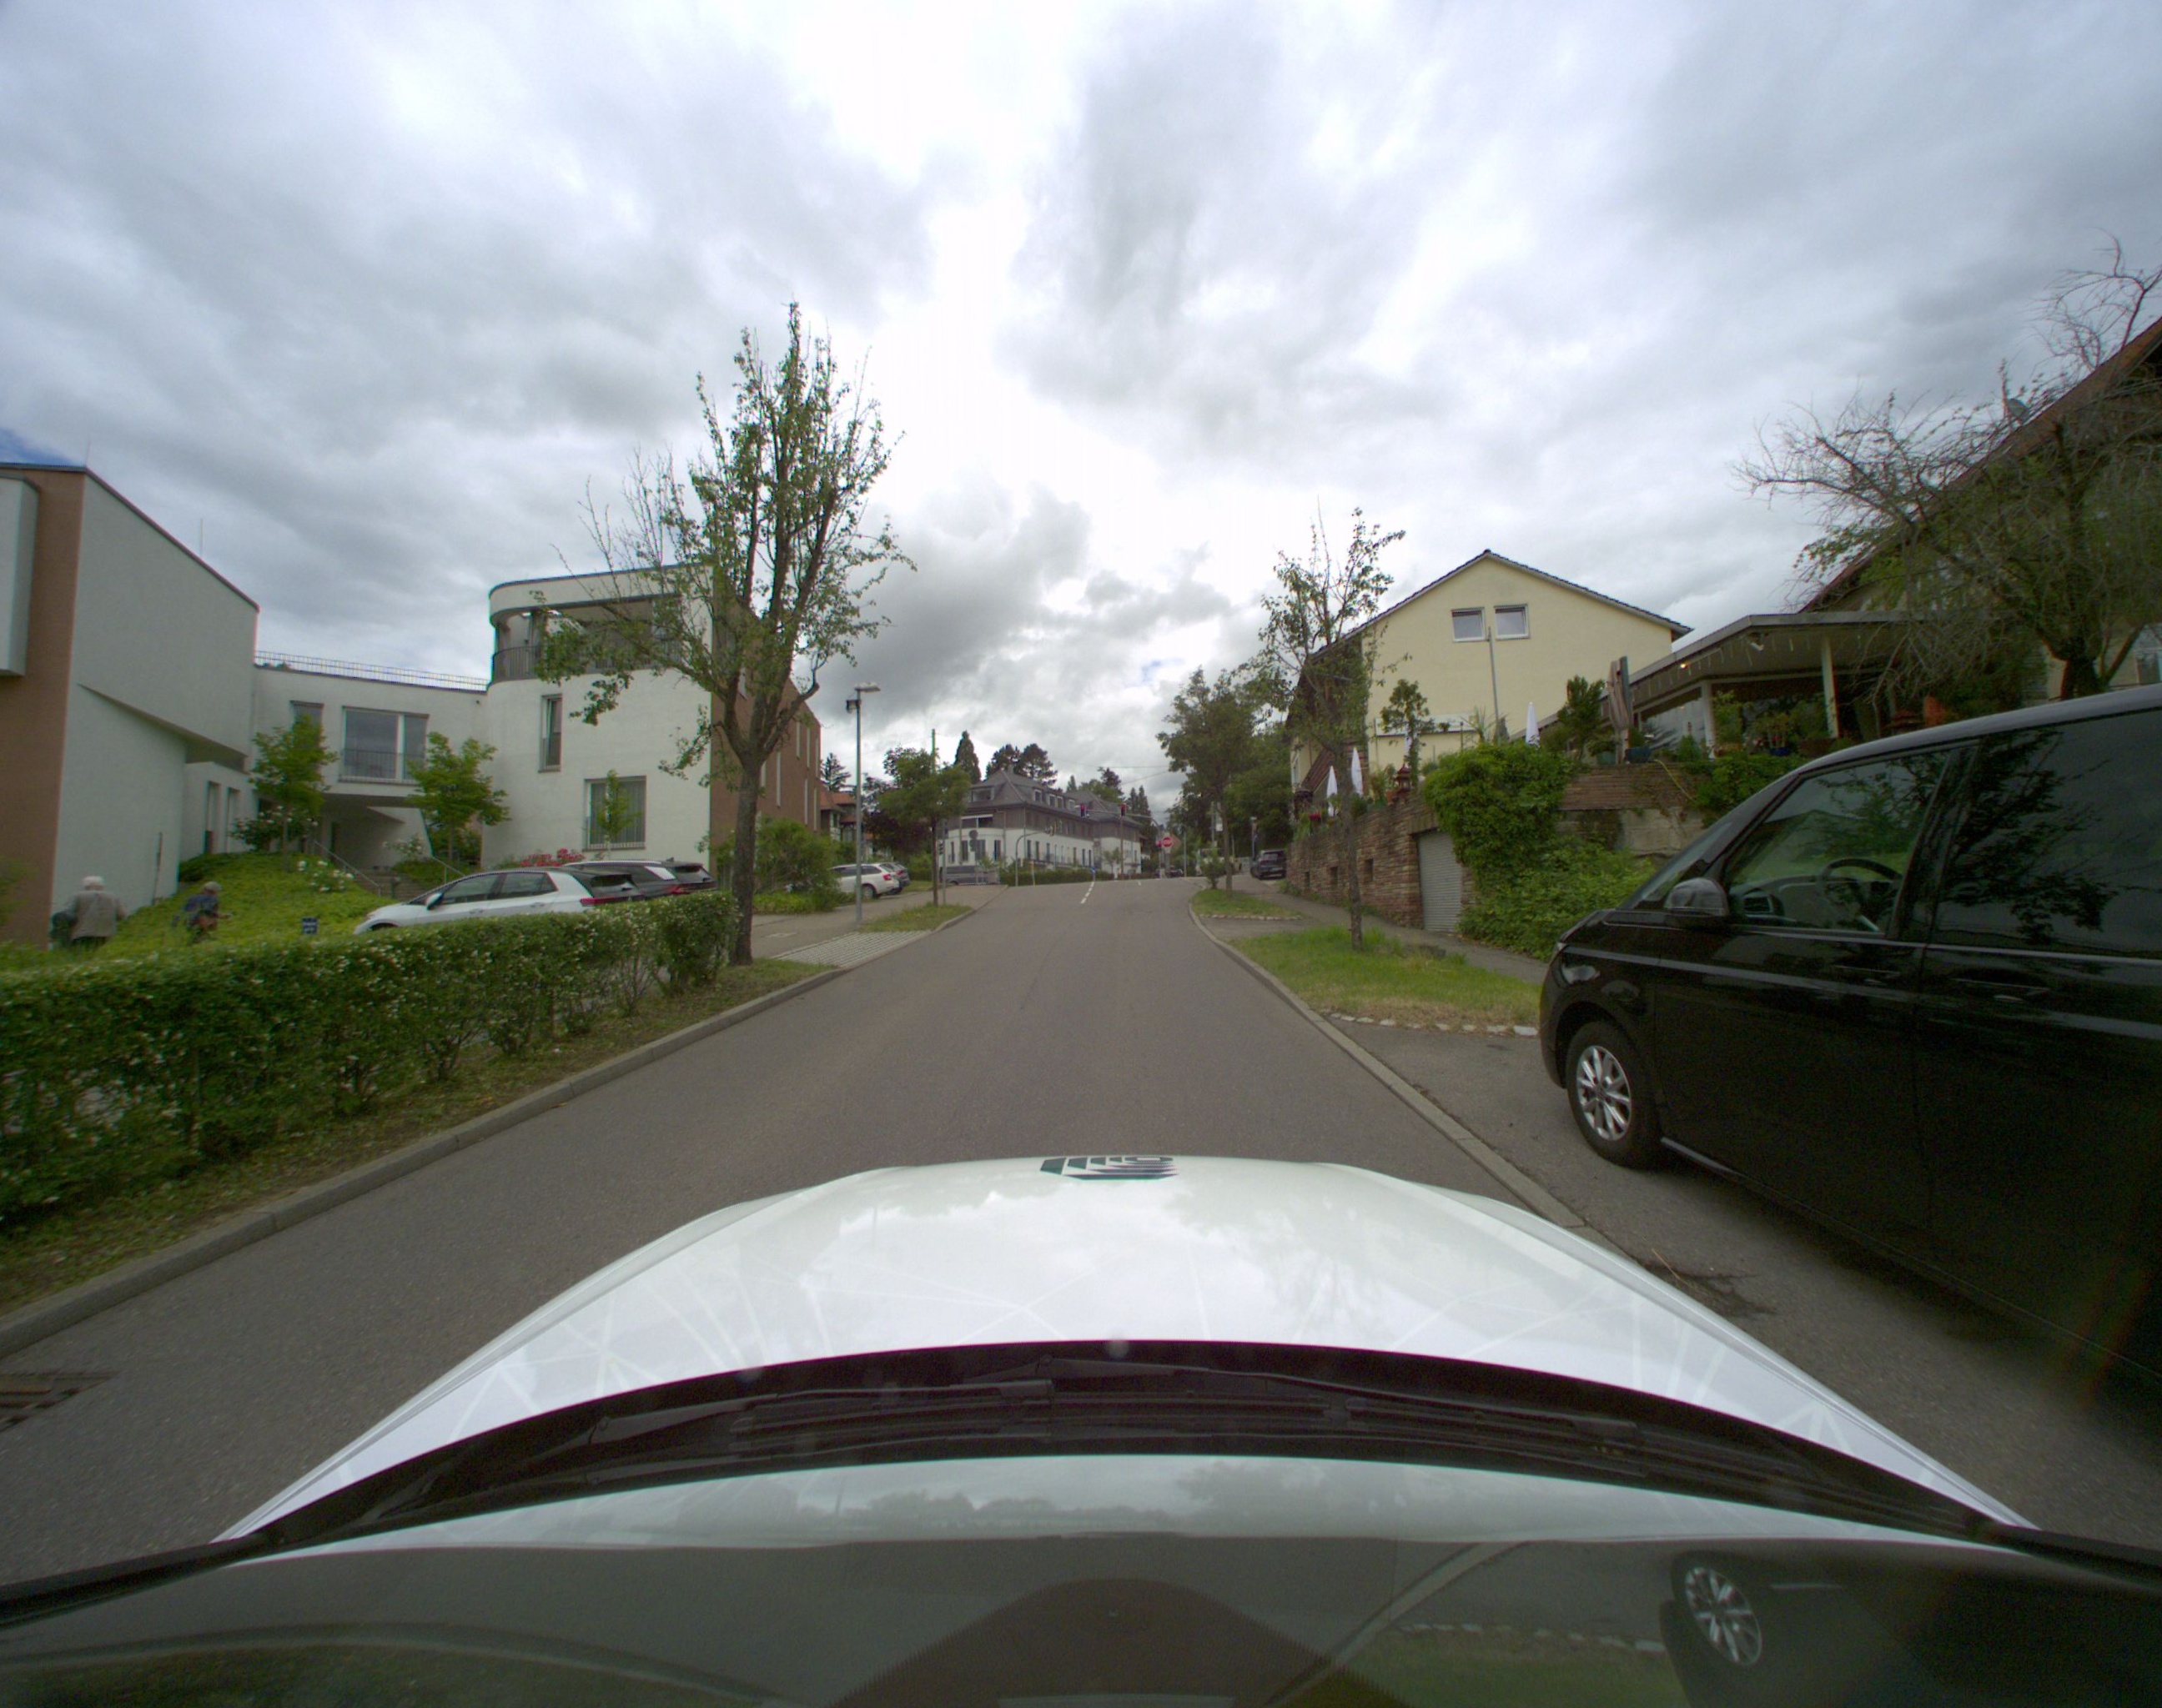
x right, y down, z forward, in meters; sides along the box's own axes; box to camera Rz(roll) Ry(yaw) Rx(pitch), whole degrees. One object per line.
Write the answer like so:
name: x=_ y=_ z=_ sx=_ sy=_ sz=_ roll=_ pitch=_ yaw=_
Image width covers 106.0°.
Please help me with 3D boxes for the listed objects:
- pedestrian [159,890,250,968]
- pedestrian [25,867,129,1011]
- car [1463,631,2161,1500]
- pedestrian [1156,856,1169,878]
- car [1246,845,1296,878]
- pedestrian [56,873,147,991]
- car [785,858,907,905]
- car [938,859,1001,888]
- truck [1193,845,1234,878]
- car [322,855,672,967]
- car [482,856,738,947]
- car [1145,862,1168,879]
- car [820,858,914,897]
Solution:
pedestrian: x=-15.338 y=1.299 z=14.279 sx=0.605 sy=1.283 sz=0.900 roll=-1 pitch=-1 yaw=1
pedestrian: x=-12.227 y=1.015 z=9.931 sx=0.586 sy=1.682 sz=0.520 roll=-2 pitch=-1 yaw=3
car: x=3.256 y=0.426 z=2.381 sx=1.929 sy=1.838 sz=5.221 roll=-2 pitch=0 yaw=2
pedestrian: x=6.361 y=1.025 z=63.768 sx=0.702 sy=1.682 sz=0.680 roll=-2 pitch=-1 yaw=-28
car: x=9.578 y=0.375 z=41.365 sx=1.839 sy=1.472 sz=4.393 roll=-4 pitch=-1 yaw=6
pedestrian: x=-14.330 y=1.122 z=11.929 sx=0.591 sy=1.640 sz=0.566 roll=-3 pitch=-1 yaw=2
car: x=-9.350 y=1.101 z=32.712 sx=4.248 sy=1.623 sz=2.012 roll=-3 pitch=-2 yaw=-2
car: x=-8.672 y=1.511 z=63.064 sx=4.506 sy=2.014 sz=1.987 roll=-1 pitch=-7 yaw=-18
truck: x=9.831 y=0.615 z=60.961 sx=2.176 sy=2.195 sz=5.881 roll=-2 pitch=-3 yaw=1
car: x=-9.722 y=0.904 z=13.871 sx=4.372 sy=1.566 sz=2.066 roll=-3 pitch=0 yaw=0
car: x=-9.404 y=0.906 z=16.509 sx=3.971 sy=1.653 sz=2.010 roll=-1 pitch=0 yaw=2
car: x=7.494 y=1.621 z=80.152 sx=2.143 sy=1.491 sz=4.720 roll=-2 pitch=0 yaw=6
car: x=-9.622 y=1.032 z=36.814 sx=3.753 sy=1.464 sz=1.729 roll=-3 pitch=1 yaw=-5
